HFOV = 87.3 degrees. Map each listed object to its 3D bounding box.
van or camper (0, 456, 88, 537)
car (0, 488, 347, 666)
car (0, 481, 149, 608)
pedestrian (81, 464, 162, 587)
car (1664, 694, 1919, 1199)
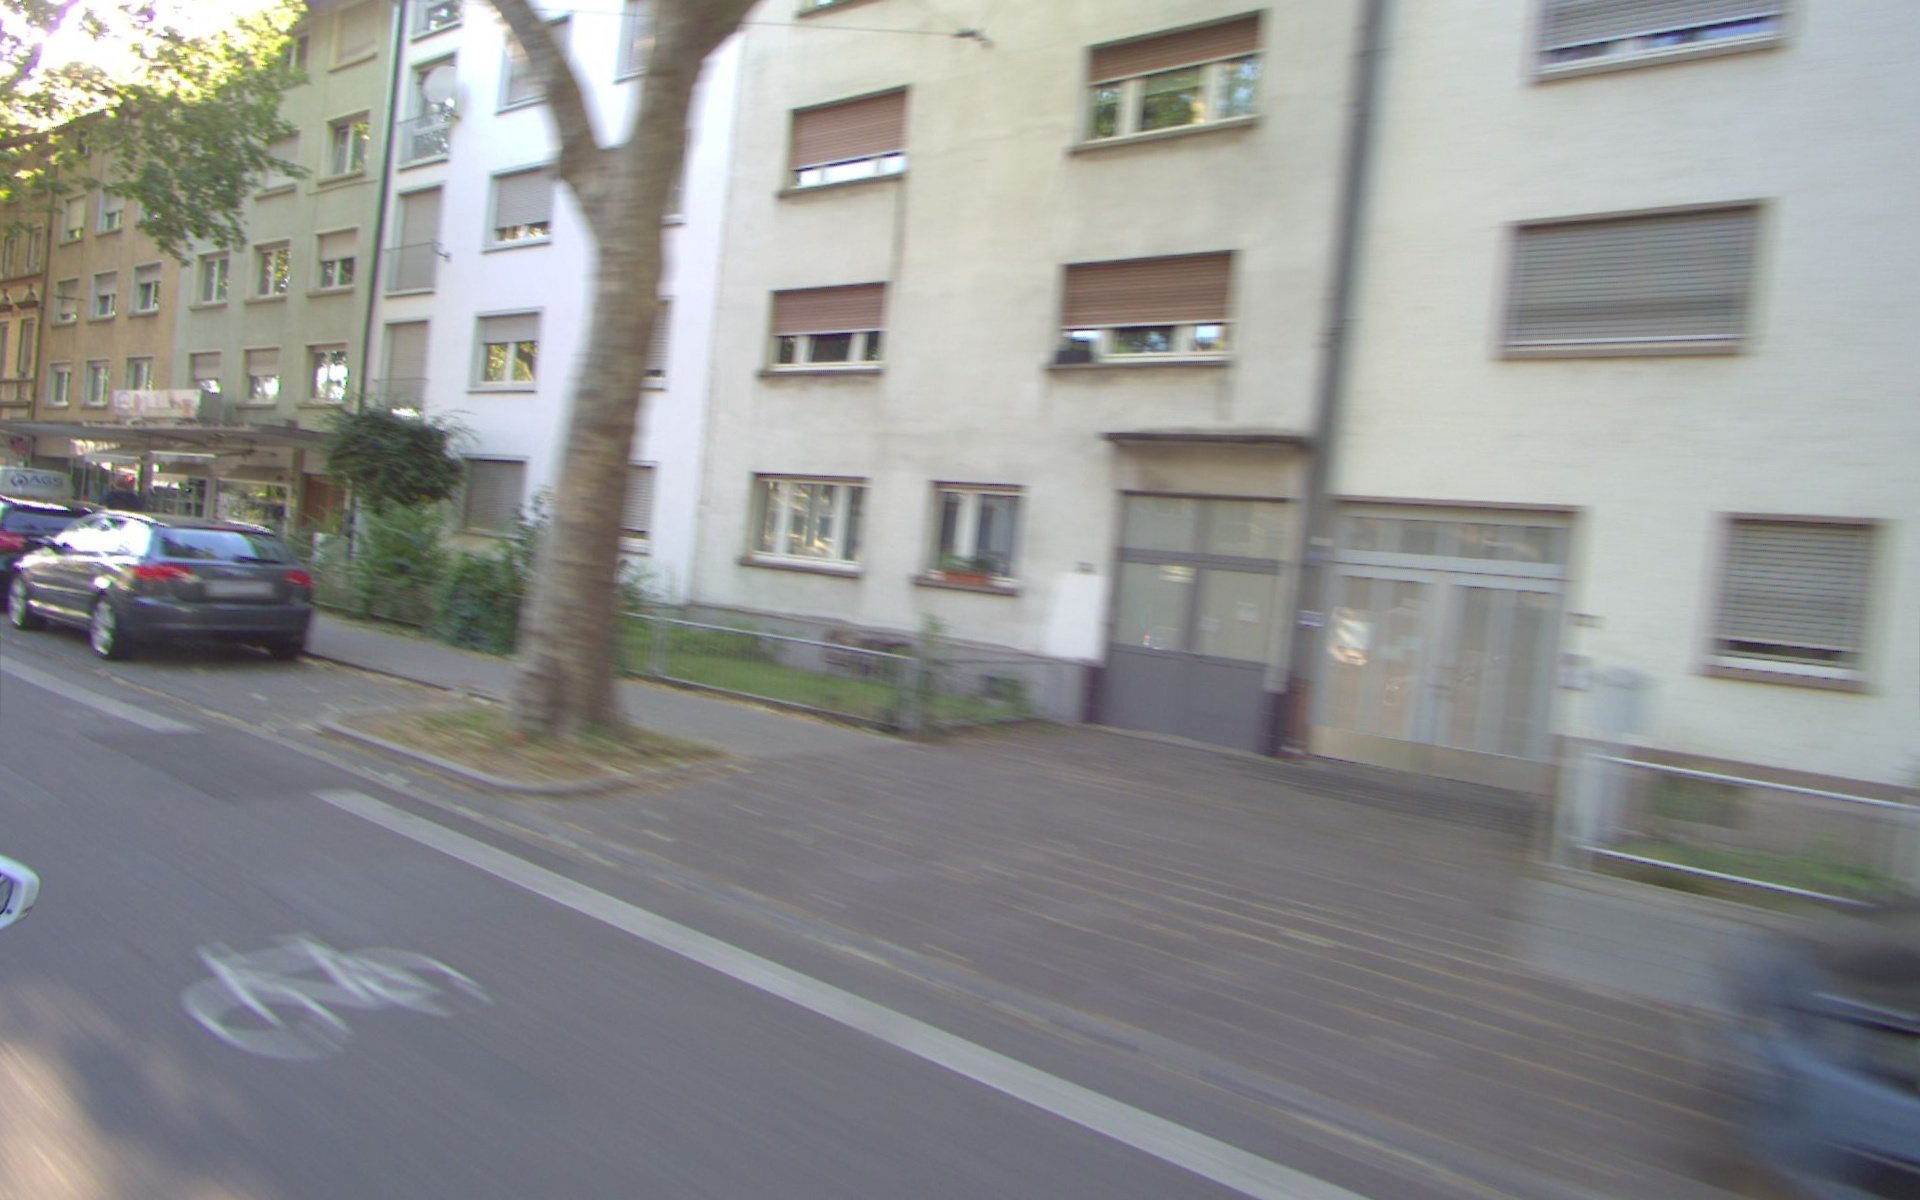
[{"bbox_3d":[-27.169,-3.065,28.643,5.301,1.947,1.943,7,2,31],"label":"van or camper"},{"bbox_3d":[-8.714,-0.317,10.937,4.291,1.434,1.708,7,3,32],"label":"car"},{"bbox_3d":[-12.792,-0.849,13.432,4.291,1.434,1.708,7,3,32],"label":"car"},{"bbox_3d":[-14.824,-1.316,17.782,0.995,2.039,0.683,7,2,31],"label":"pedestrian"},{"bbox_3d":[4.363,1.295,2.472,3.955,1.482,1.746,7,1,27],"label":"car"}]
